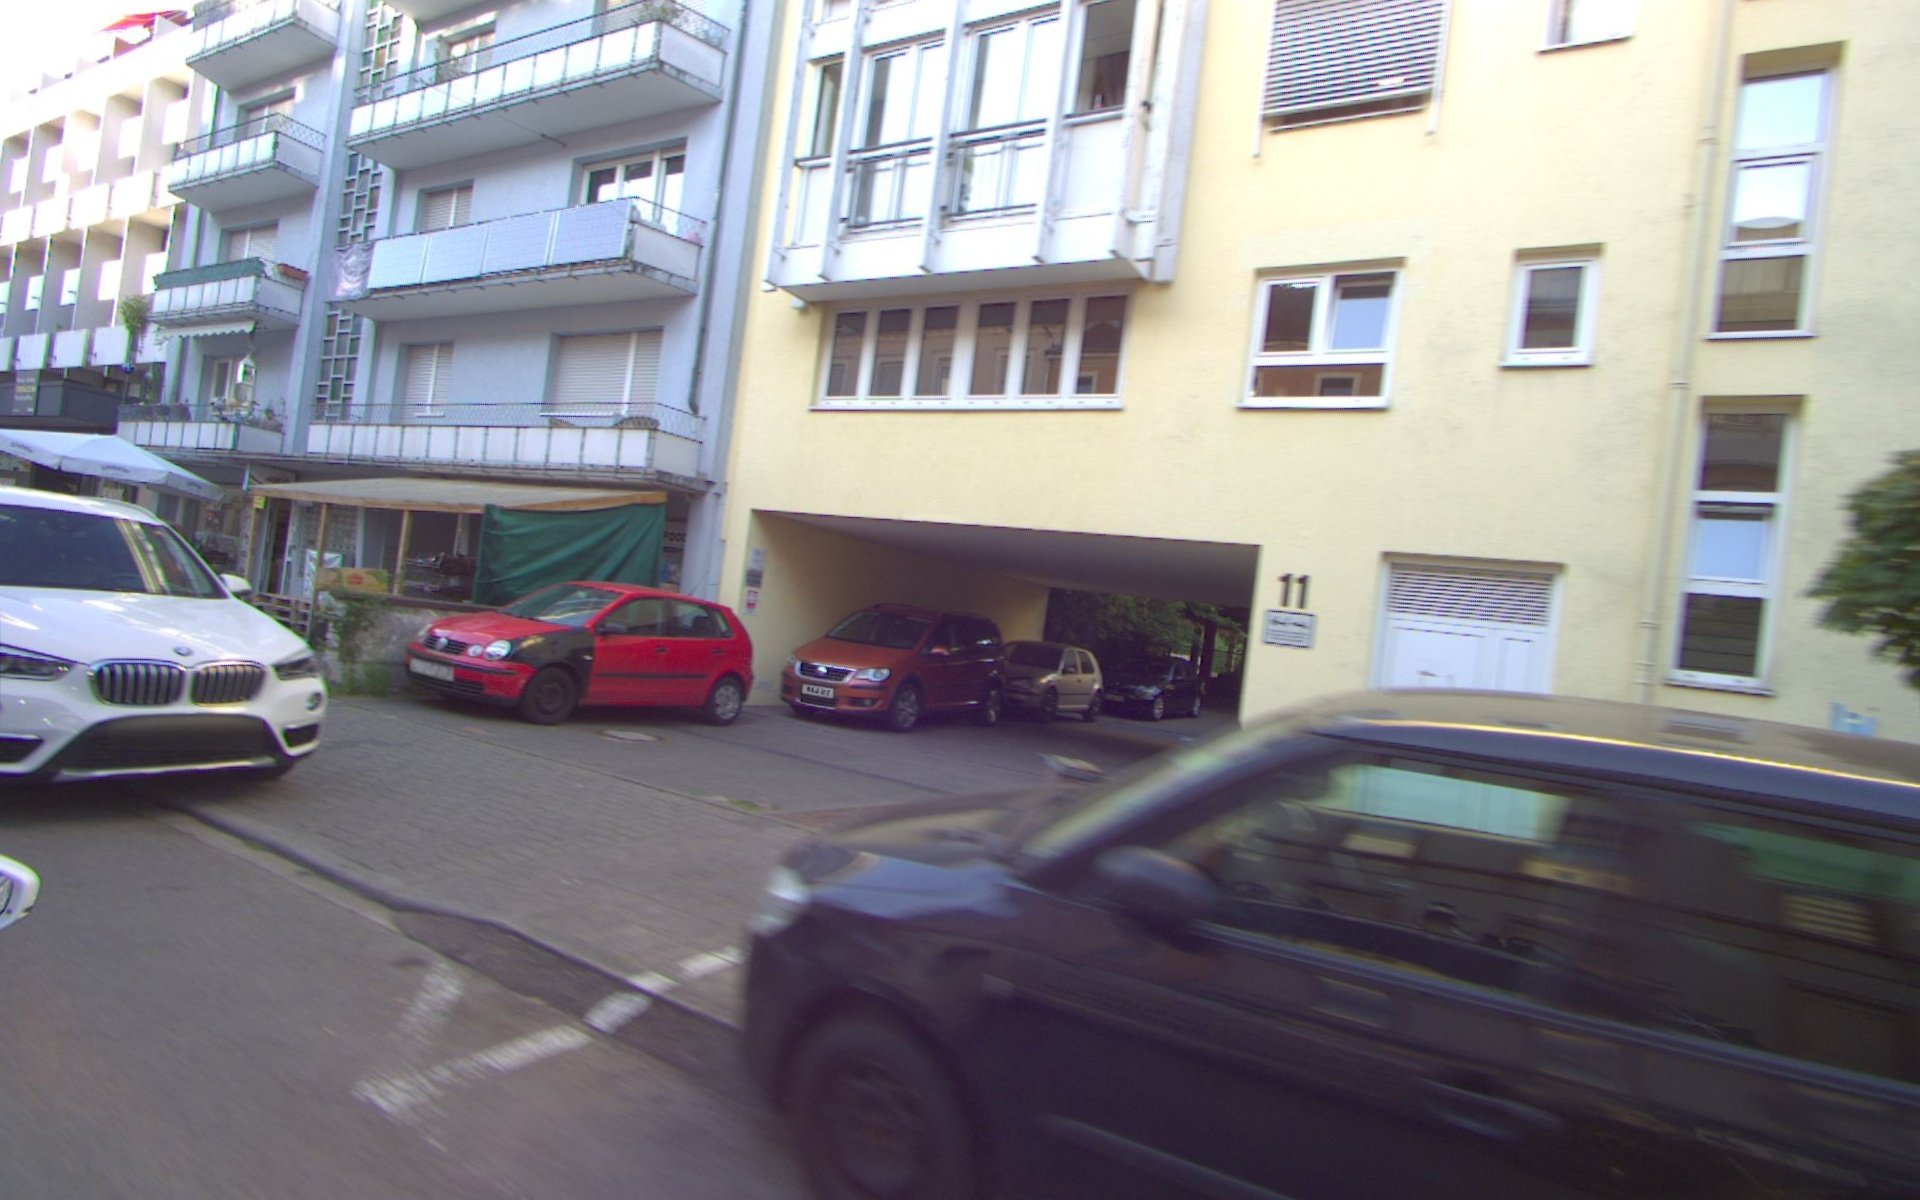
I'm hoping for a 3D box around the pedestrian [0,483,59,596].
[{"bbox_3d":[-13.948,-0.901,14.574,0.859,1.575,0.873,7,1,9],"label":"pedestrian"}]

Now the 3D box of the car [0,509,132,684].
[{"bbox_3d":[-9.692,-0.226,9.247,4.221,1.405,1.726,7,0,29],"label":"car"}]

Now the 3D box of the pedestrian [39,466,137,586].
[{"bbox_3d":[-17.164,-1.446,19.816,0.938,2.170,0.876,7,-1,14],"label":"pedestrian"}]

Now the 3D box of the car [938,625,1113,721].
[{"bbox_3d":[1.352,1.419,18.949,1.730,1.436,3.956,7,-2,28],"label":"car"}]

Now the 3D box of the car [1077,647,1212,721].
[{"bbox_3d":[4.557,2.055,24.324,1.741,1.436,4.327,6,-2,30],"label":"car"}]

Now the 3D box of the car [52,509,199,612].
[{"bbox_3d":[-14.264,-0.685,17.347,1.591,1.432,3.198,8,-2,-36],"label":"car"}]

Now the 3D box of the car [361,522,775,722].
[{"bbox_3d":[-4.044,0.369,11.056,1.666,1.624,3.907,7,-4,30],"label":"car"}]

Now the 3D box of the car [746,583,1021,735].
[{"bbox_3d":[-0.918,0.891,14.532,1.965,1.678,4.119,7,-2,27],"label":"car"}]

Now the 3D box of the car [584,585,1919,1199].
[{"bbox_3d":[1.145,0.956,2.473,4.056,1.504,1.622,7,0,31],"label":"car"}]

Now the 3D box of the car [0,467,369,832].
[{"bbox_3d":[-5.930,0.087,6.202,4.509,1.630,1.727,6,-2,29],"label":"car"}]
